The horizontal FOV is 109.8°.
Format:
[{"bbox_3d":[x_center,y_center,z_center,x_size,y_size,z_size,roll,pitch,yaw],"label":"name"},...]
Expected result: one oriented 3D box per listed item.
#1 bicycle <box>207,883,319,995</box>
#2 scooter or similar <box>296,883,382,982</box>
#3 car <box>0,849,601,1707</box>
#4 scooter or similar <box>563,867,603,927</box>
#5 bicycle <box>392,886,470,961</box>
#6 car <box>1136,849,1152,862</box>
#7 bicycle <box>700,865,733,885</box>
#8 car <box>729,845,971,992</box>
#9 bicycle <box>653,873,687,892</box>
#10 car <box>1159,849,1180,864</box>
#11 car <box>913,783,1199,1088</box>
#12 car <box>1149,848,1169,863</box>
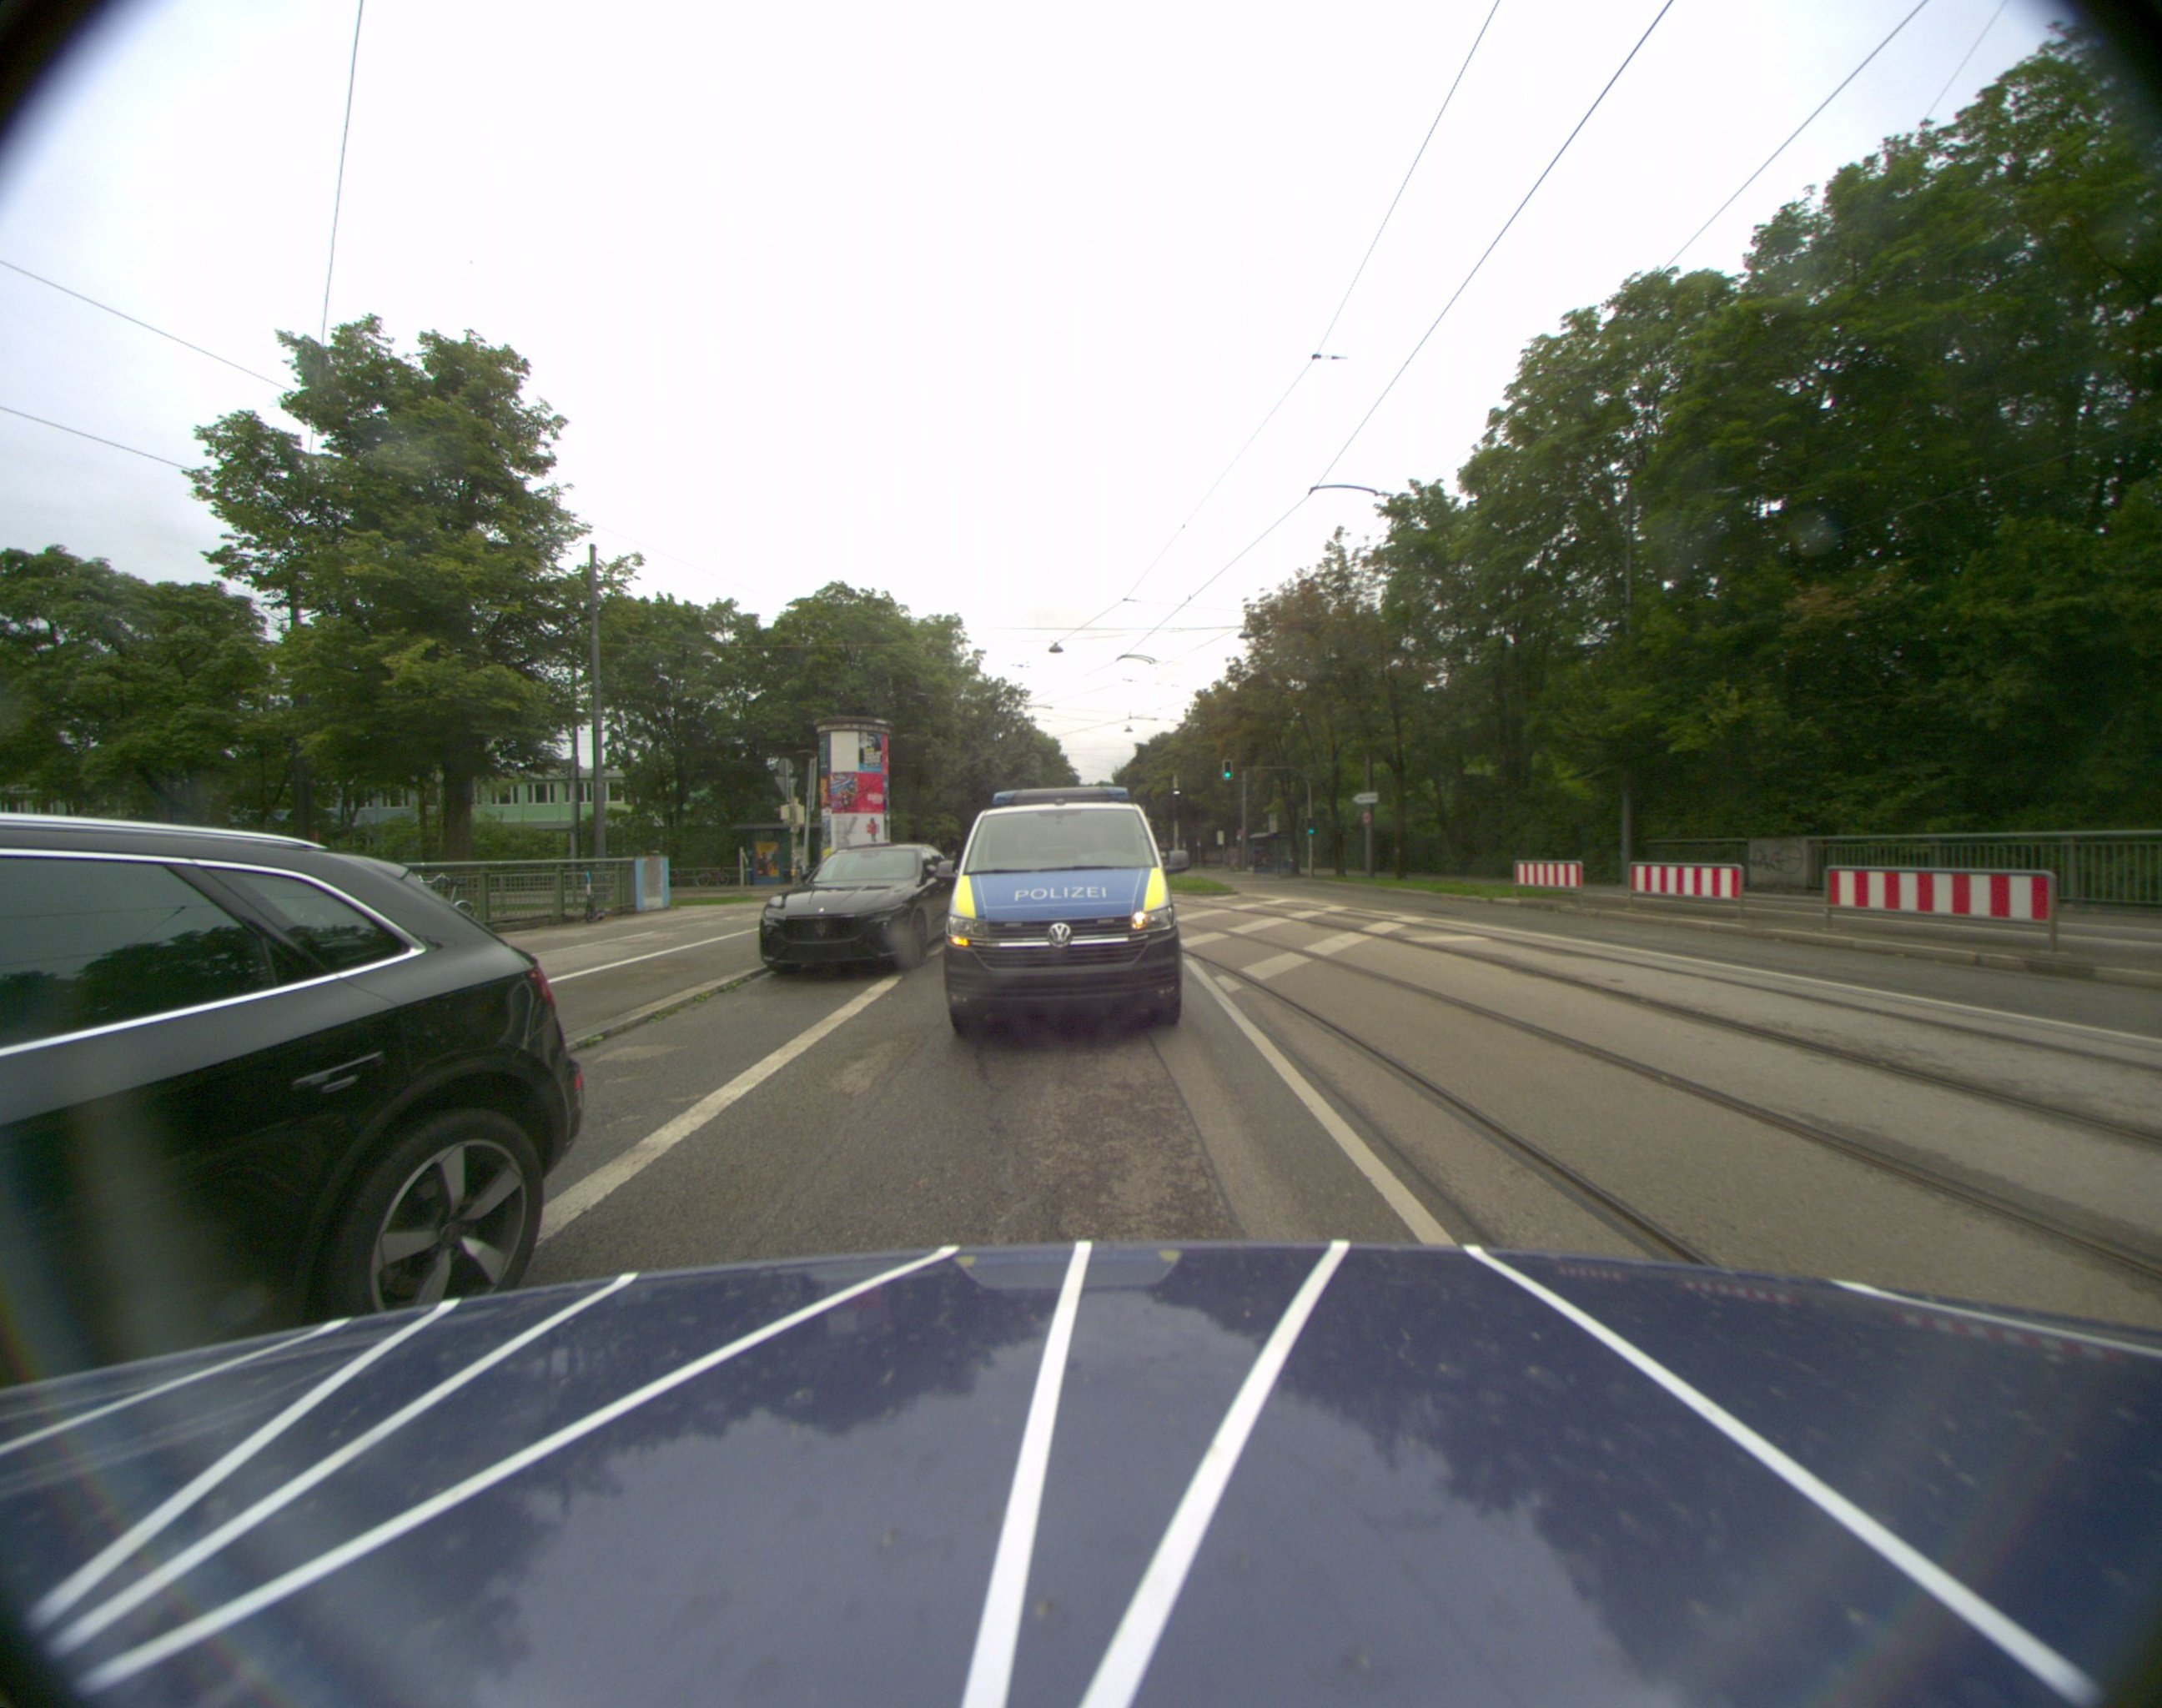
[{"bbox_3d":[-10.542,1.052,9.844,0.283,1.274,1.408,-3,1,-18],"label":"bicycle"},{"bbox_3d":[-10.534,1.079,10.837,0.245,1.255,1.493,-4,1,-21],"label":"scooter or similar"},{"bbox_3d":[-2.881,0.882,0.753,1.778,1.648,4.487,-3,1,2],"label":"car"},{"bbox_3d":[-10.571,0.894,16.161,0.225,1.205,1.020,-3,1,-8],"label":"scooter or similar"},{"bbox_3d":[-10.682,1.112,12.539,0.265,1.076,1.540,-3,1,-14],"label":"bicycle"},{"bbox_3d":[8.962,0.215,108.391,1.888,1.716,3.999,-3,1,-1],"label":"car"},{"bbox_3d":[-18.343,1.050,38.261,1.483,0.946,0.373,-2,2,3],"label":"bicycle"},{"bbox_3d":[-2.980,0.729,11.033,1.905,1.600,4.665,-3,0,1],"label":"car"},{"bbox_3d":[-20.793,1.438,38.450,1.483,0.946,0.373,-2,2,3],"label":"bicycle"},{"bbox_3d":[10.255,0.292,88.224,1.888,1.532,3.999,-3,1,0],"label":"car"},{"bbox_3d":[-0.202,0.510,8.017,1.903,2.041,5.707,-1,1,-1],"label":"car"},{"bbox_3d":[9.635,0.207,93.722,1.888,1.716,3.999,-3,1,-1],"label":"car"}]
